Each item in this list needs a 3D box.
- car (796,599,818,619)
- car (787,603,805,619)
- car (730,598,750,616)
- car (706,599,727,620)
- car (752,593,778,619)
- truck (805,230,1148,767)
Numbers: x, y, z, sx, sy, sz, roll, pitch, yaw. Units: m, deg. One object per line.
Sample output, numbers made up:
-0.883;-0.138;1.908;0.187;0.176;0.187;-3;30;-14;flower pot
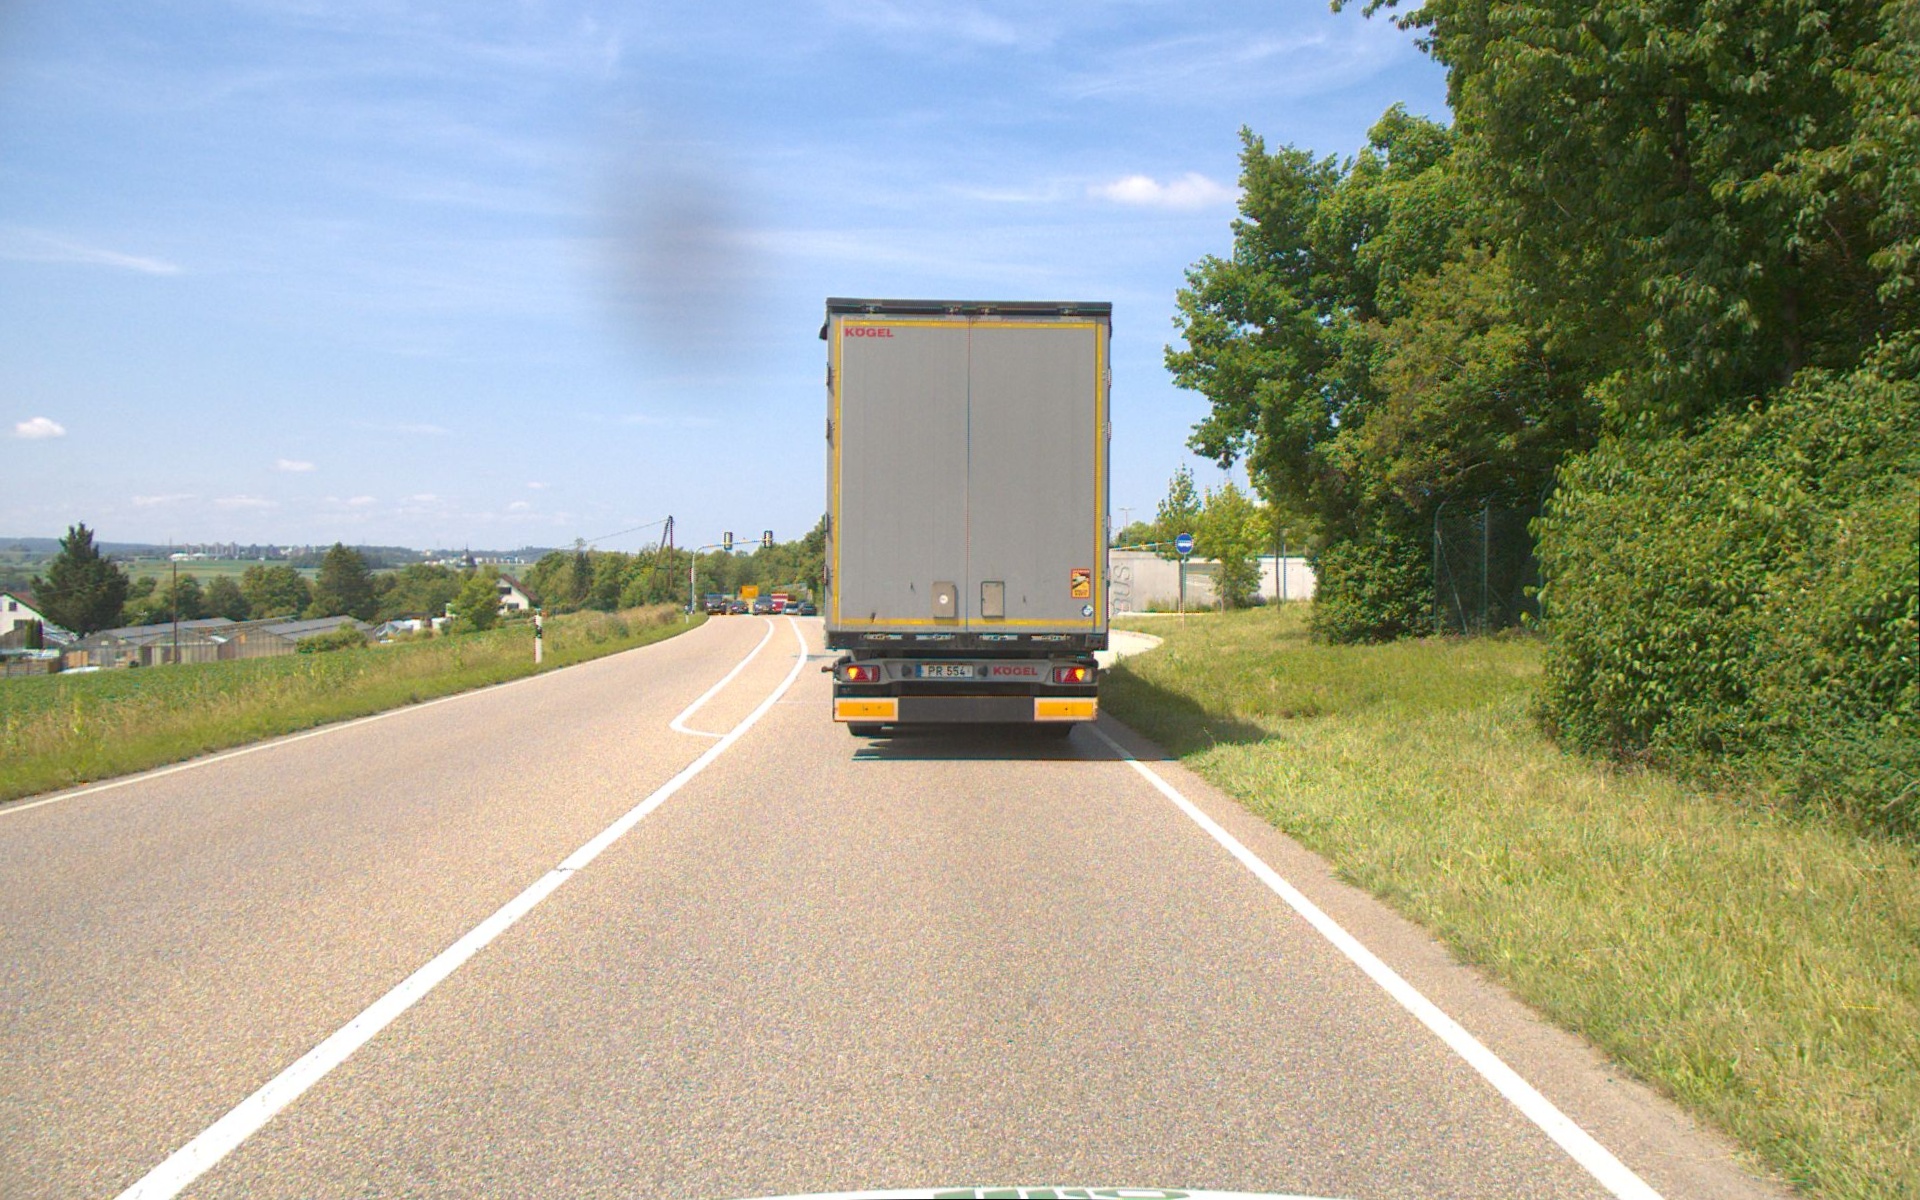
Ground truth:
-16.014;0.930;172.958;2.129;2.049;4.522;-2;0;-4;car
-19.091;1.253;192.746;1.855;1.808;4.382;-2;0;-4;car
-23.881;0.709;179.654;1.956;1.847;4.289;-2;1;-7;car
-24.037;0.906;163.257;1.956;2.013;5.269;-2;0;-8;car
-16.171;0.479;137.492;1.955;1.984;4.498;-2;0;-5;car
-0.046;-0.874;18.401;2.849;4.487;8.855;1;0;-3;truck
